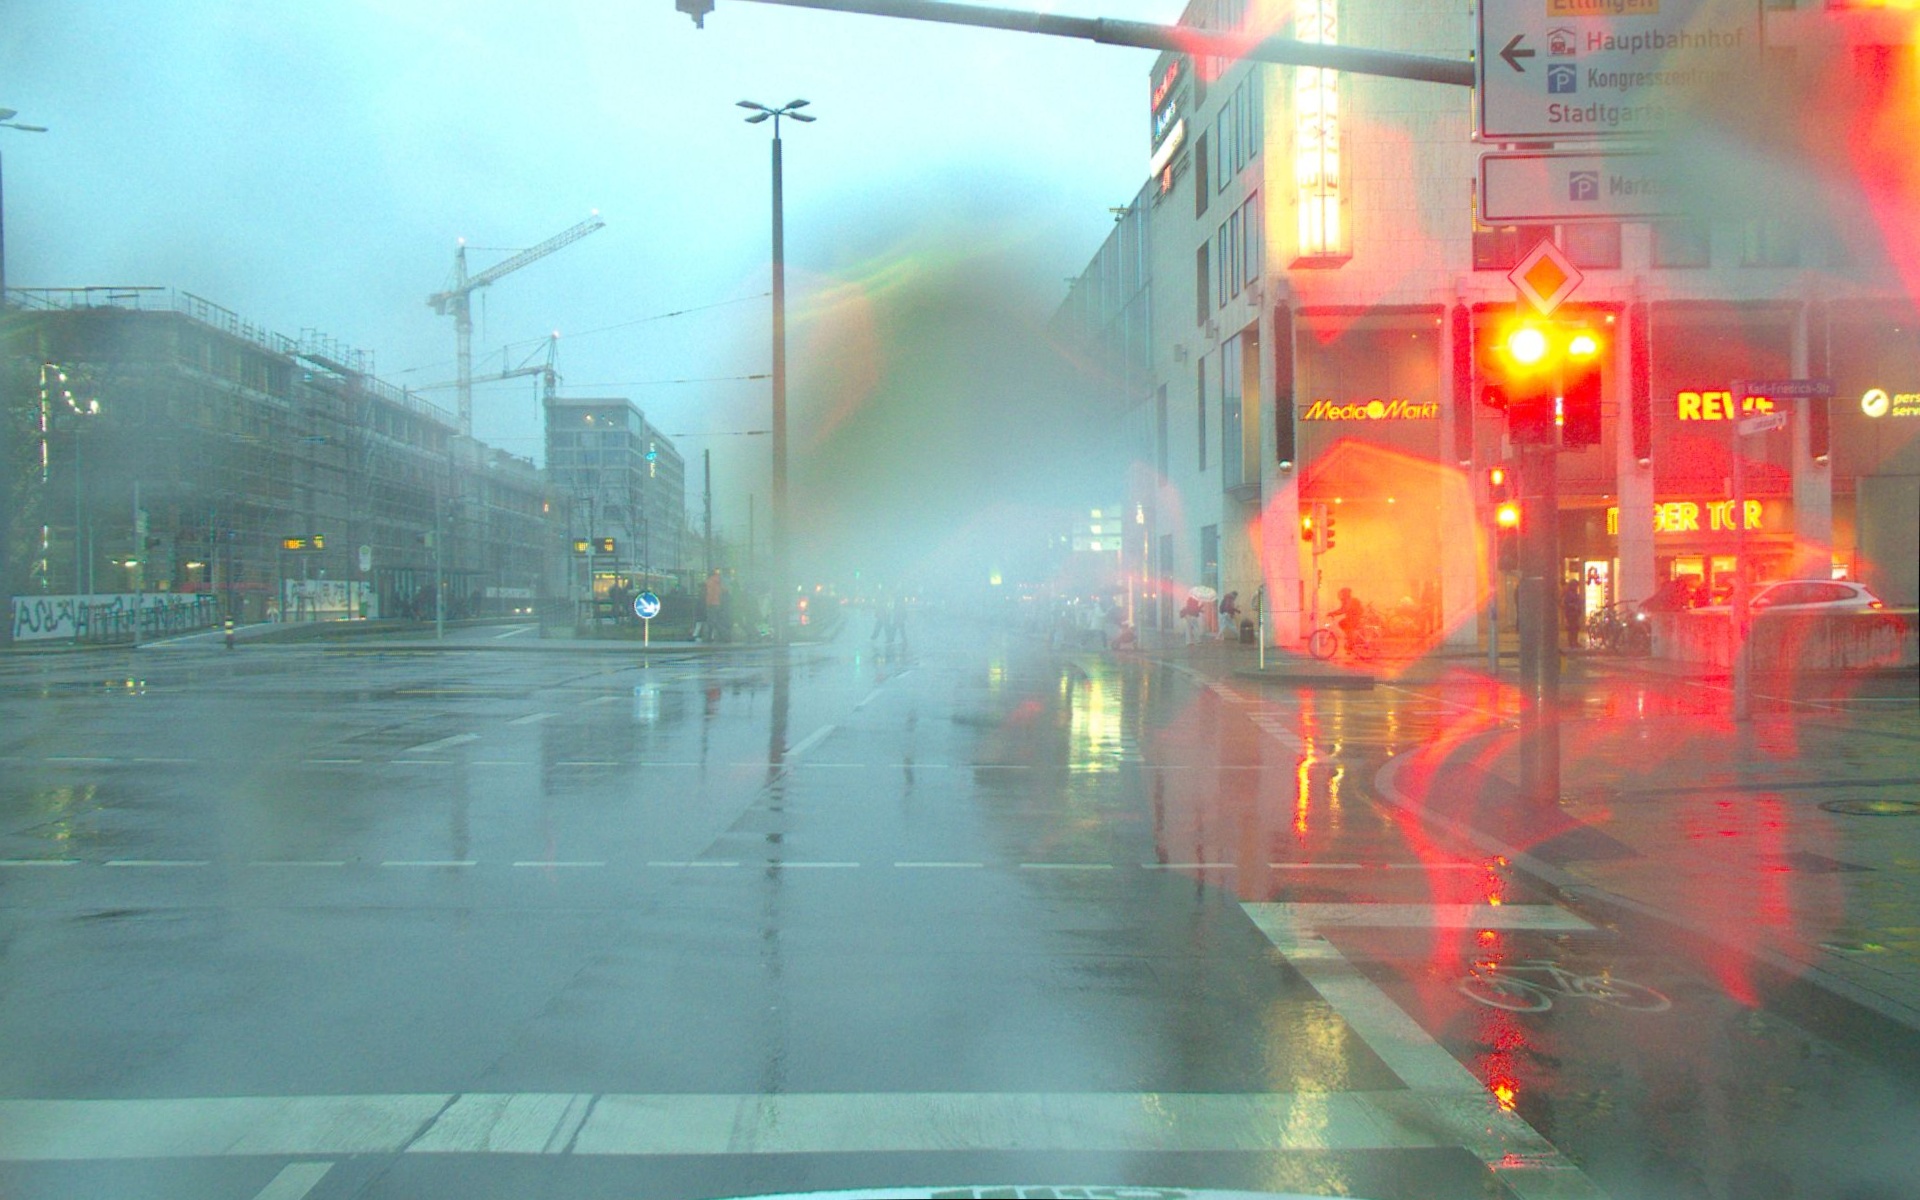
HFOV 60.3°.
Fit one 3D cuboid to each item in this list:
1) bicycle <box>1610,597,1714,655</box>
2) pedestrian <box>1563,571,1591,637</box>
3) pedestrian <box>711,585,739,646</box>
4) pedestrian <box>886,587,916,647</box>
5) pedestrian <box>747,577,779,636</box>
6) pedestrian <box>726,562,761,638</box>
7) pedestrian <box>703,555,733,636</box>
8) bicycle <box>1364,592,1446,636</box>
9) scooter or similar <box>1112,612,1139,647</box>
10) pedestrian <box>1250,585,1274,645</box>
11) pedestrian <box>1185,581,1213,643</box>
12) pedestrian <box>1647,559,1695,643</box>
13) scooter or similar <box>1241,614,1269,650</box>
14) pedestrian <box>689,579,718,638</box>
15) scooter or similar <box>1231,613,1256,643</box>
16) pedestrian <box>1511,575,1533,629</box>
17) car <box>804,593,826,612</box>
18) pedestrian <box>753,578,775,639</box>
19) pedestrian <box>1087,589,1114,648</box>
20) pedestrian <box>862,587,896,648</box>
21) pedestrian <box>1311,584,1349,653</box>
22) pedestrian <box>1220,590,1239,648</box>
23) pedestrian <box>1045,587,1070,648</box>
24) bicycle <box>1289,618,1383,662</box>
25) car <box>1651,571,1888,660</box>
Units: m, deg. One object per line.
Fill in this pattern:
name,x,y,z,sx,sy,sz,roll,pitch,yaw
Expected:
bicycle,13.889,0.505,32.750,1.806,1.112,0.618,-1,0,14
pedestrian,16.096,0.105,43.149,0.526,1.715,0.547,-1,0,37
pedestrian,-6.508,0.427,45.821,0.692,1.647,0.612,-1,0,-3
pedestrian,-1.708,0.498,47.869,0.825,1.718,0.677,-1,0,1
pedestrian,-5.477,0.177,46.026,0.793,1.635,0.745,-1,0,-1
pedestrian,-5.863,0.003,44.774,0.766,2.049,0.607,-1,0,-28
pedestrian,-6.428,-0.130,43.906,0.675,2.124,0.610,-1,0,-17
bicycle,13.866,0.436,51.549,2.378,1.352,0.634,-1,0,-6
scooter or similar,4.824,0.860,48.271,0.725,1.011,0.401,-1,0,11
pedestrian,9.173,0.448,50.216,0.605,1.791,0.482,-1,0,-1
pedestrian,6.991,0.338,48.388,0.688,1.791,0.667,-1,0,-1
pedestrian,14.058,0.018,32.722,0.764,1.623,0.613,-1,0,14
scooter or similar,8.326,0.902,46.695,0.726,1.011,0.400,-1,0,0
pedestrian,-7.309,0.235,47.209,0.692,1.647,0.680,-1,0,0
scooter or similar,8.961,0.888,52.332,0.726,0.932,0.400,-1,0,0
pedestrian,18.381,0.072,54.098,0.526,1.748,0.500,-1,0,37
car,-14.115,0.293,160.773,1.850,1.814,3.713,1,-1,-1
pedestrian,-5.744,0.244,48.497,0.607,1.776,0.612,-1,0,-6
pedestrian,4.103,0.545,48.408,0.725,1.696,0.401,-1,0,11
pedestrian,-2.310,0.498,47.356,0.813,1.709,0.620,-1,0,11
pedestrian,8.659,0.425,38.724,0.797,1.597,0.537,-1,0,4
pedestrian,8.379,0.597,51.418,0.501,1.791,0.374,-1,0,-1
pedestrian,2.914,0.519,49.367,0.688,1.791,0.652,-1,0,-1
bicycle,8.801,0.936,38.708,2.083,1.009,0.542,1,-1,4
car,17.256,0.318,35.379,4.213,1.792,1.707,-1,0,2
